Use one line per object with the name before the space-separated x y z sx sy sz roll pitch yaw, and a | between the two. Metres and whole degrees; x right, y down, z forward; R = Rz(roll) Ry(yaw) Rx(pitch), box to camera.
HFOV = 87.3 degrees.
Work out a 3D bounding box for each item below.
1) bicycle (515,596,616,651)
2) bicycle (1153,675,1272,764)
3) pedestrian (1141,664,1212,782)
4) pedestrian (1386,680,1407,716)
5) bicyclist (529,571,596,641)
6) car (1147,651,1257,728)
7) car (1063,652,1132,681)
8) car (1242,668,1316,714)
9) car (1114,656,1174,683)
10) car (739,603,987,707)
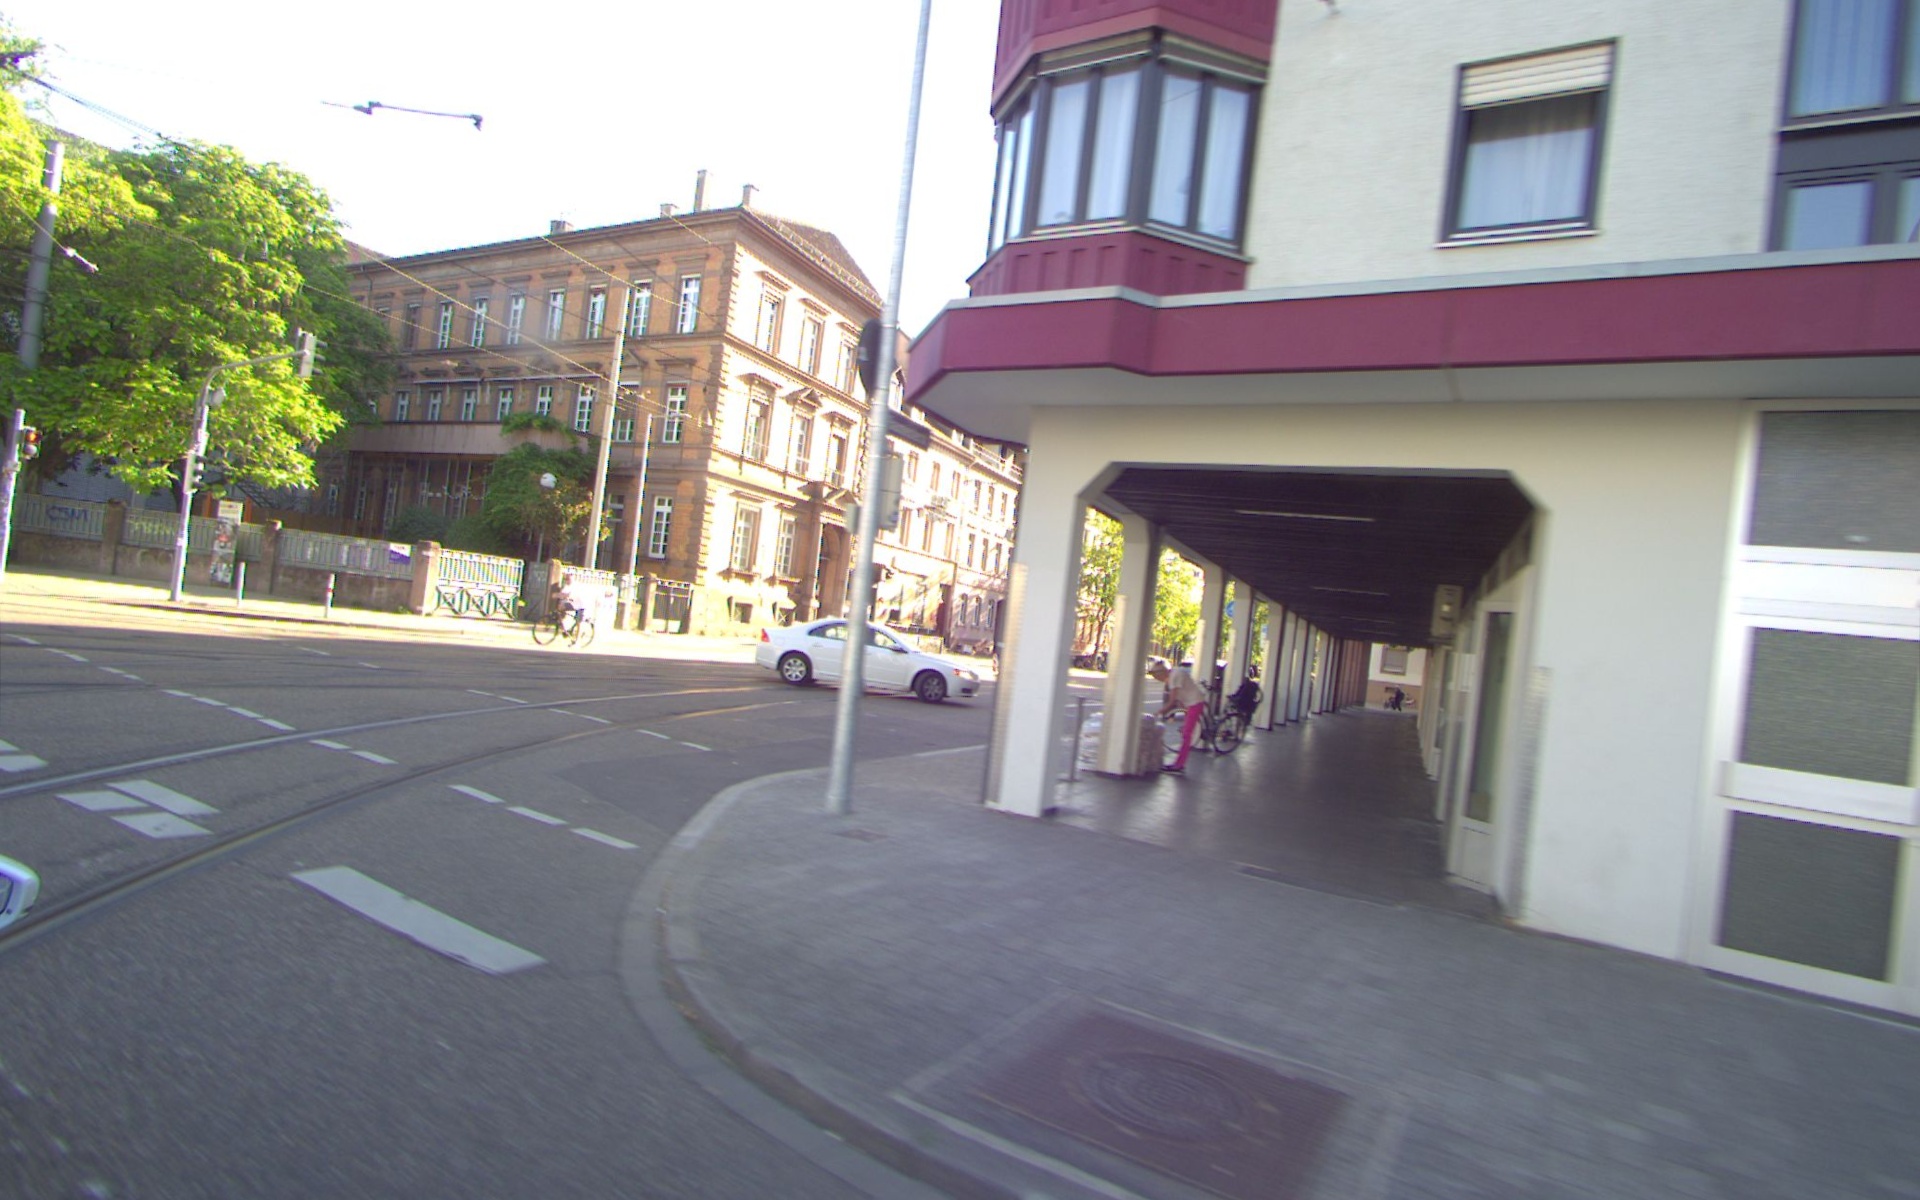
bicycle | -9.539 0.603 24.454 0.830 1.132 2.332 7 -1 21
bicycle | 3.928 1.863 15.613 1.779 1.214 0.611 7 -1 -31
pedestrian | 2.724 1.533 12.720 0.644 1.366 0.664 7 0 5
pedestrian | 25.759 5.774 59.355 0.885 2.038 0.638 7 0 32
bicyclist | -9.585 0.142 24.286 0.993 1.527 0.928 7 -1 21
car | 6.534 2.425 26.892 1.708 1.703 3.906 6 -3 30
car | 9.815 4.742 72.098 4.649 1.467 1.909 7 -1 3
car | 12.656 3.625 39.769 1.880 1.486 3.998 6 -3 30
car | 15.599 5.881 85.090 4.649 1.704 2.002 7 -1 17
car | -1.946 1.137 21.197 4.807 1.473 1.857 7 -1 5
